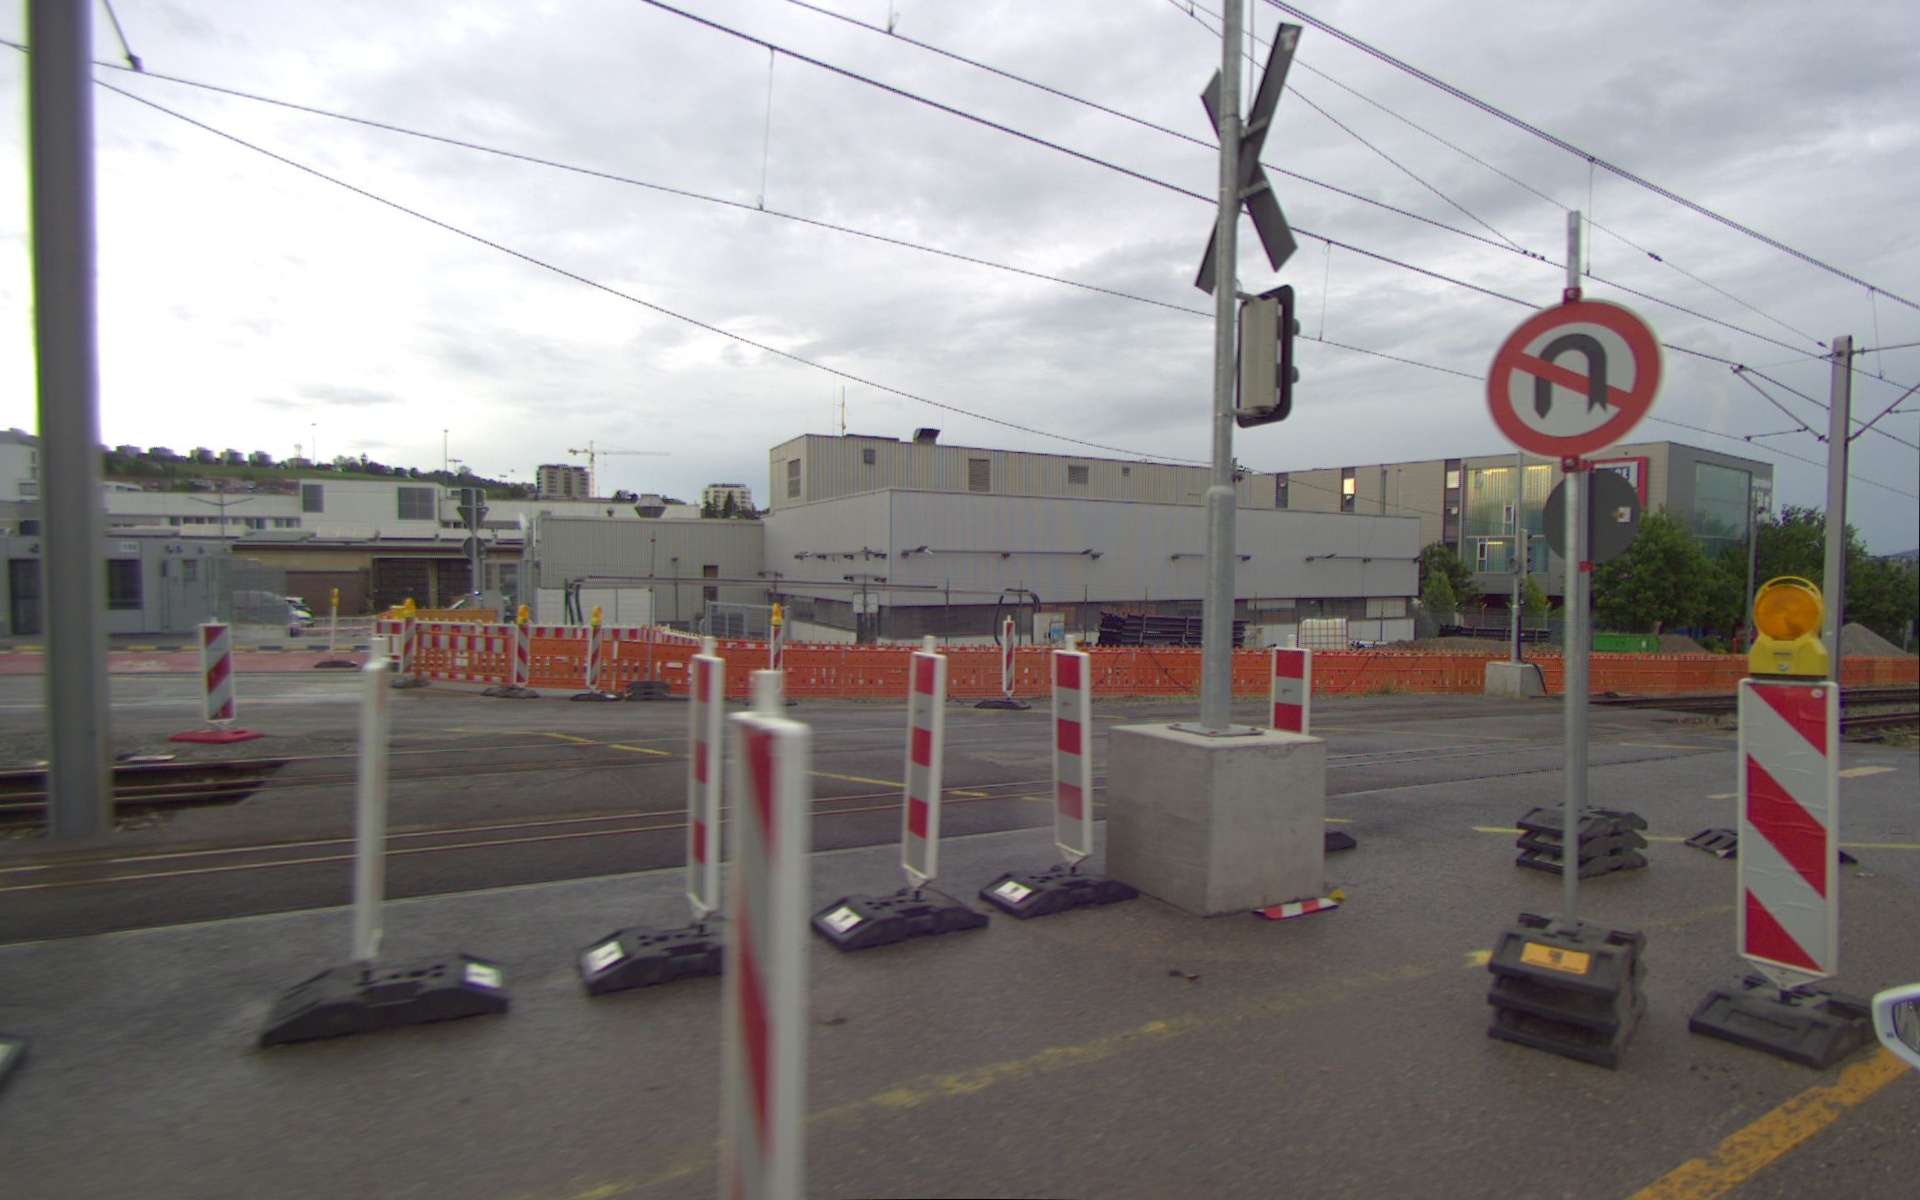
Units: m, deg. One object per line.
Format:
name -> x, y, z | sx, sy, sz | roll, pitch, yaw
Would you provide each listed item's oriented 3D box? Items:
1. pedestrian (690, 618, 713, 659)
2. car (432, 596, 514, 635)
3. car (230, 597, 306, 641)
pedestrian -> -11.528, 1.711, 44.801 | 0.755, 1.814, 0.703 | 1, 0, -32
car -> -32.717, 1.027, 67.561 | 4.862, 2.510, 1.973 | 1, 0, -28
car -> -47.391, 1.292, 68.913 | 3.945, 2.943, 1.988 | 1, 0, -25
